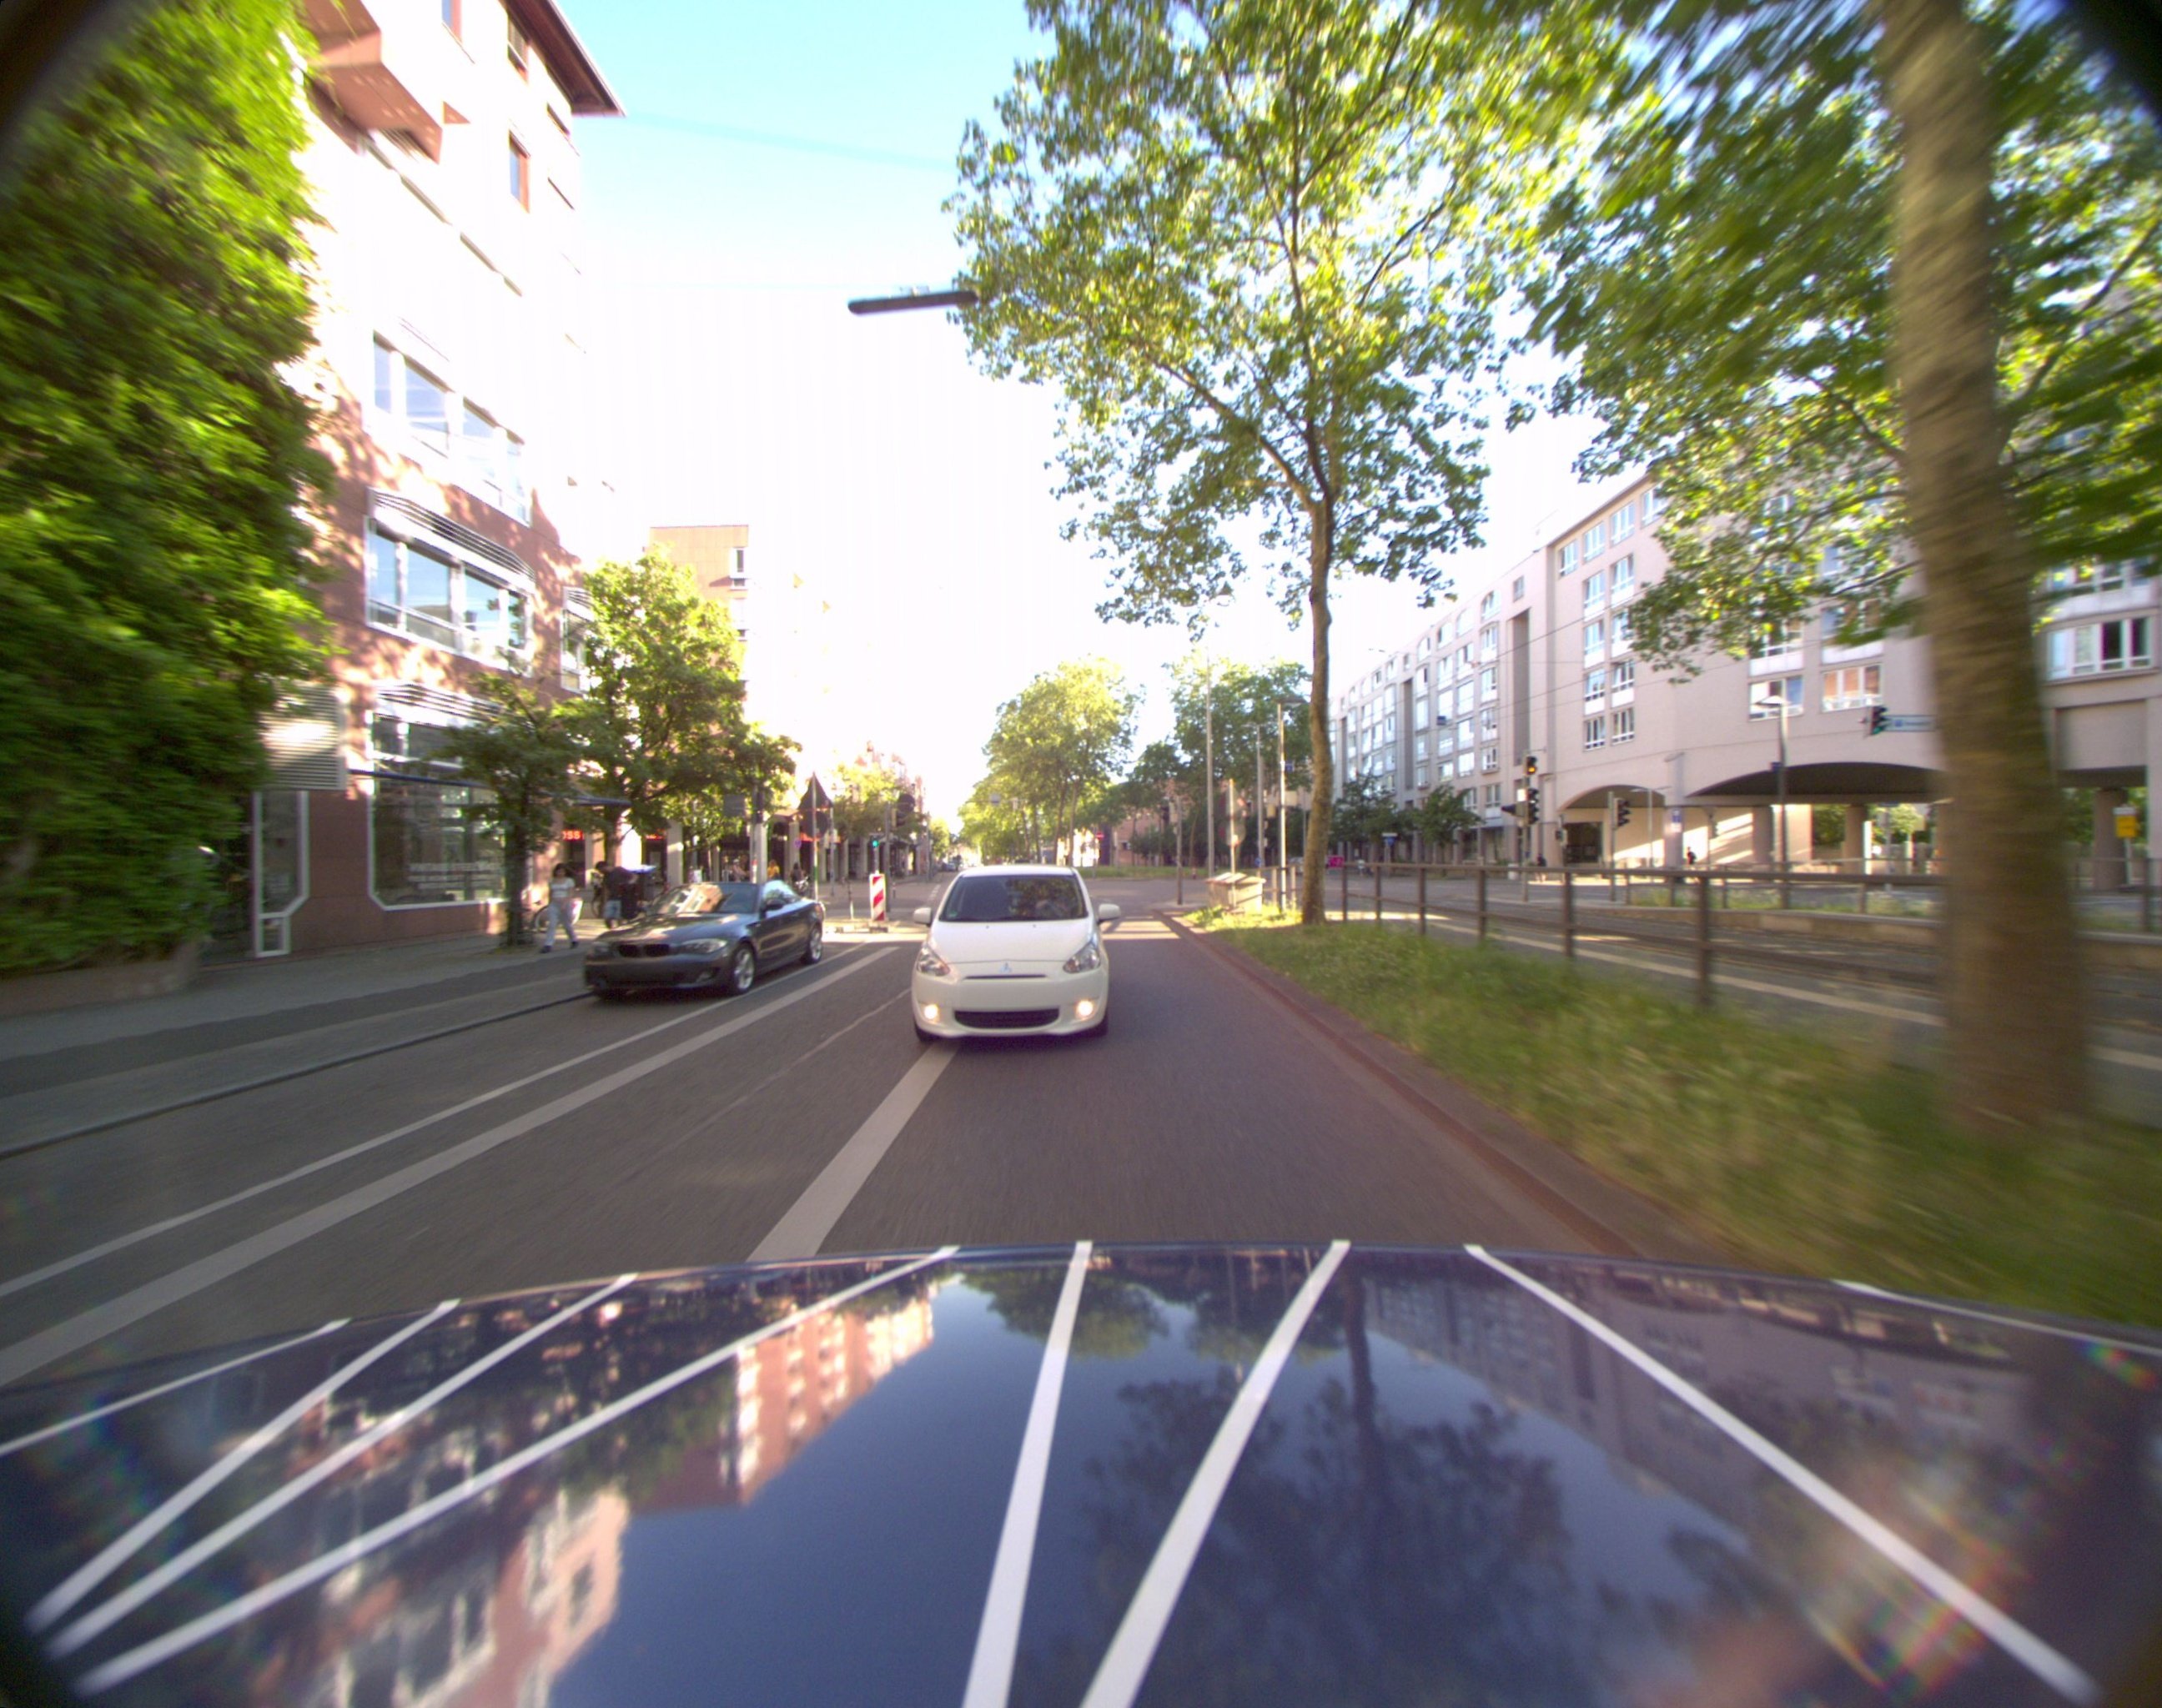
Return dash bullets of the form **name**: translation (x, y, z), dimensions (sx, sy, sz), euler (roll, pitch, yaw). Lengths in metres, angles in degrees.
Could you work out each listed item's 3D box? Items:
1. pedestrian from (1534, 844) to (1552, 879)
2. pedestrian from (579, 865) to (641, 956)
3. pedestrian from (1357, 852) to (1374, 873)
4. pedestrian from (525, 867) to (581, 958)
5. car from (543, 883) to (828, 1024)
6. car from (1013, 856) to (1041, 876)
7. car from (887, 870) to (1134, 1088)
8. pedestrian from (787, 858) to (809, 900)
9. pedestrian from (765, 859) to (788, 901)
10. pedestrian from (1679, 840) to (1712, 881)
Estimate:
- **pedestrian**: translation (27.199, 0.419, 44.712), dimensions (0.874, 2.002, 1.009), euler (-1, 1, 32)
- **pedestrian**: translation (-8.546, 1.011, 13.802), dimensions (0.641, 1.599, 0.720), euler (-1, 1, 1)
- **pedestrian**: translation (21.982, 0.668, 58.809), dimensions (1.006, 1.592, 0.876), euler (-2, 1, 7)
- **pedestrian**: translation (-9.584, 1.052, 13.818), dimensions (0.563, 1.599, 0.599), euler (-1, 1, 1)
- **car**: translation (-4.879, 1.137, 10.112), dimensions (1.809, 1.323, 3.990), euler (-1, 0, -2)
- **car**: translation (-4.579, 1.034, 65.062), dimensions (1.998, 1.524, 3.999), euler (-2, 1, 1)
- **car**: translation (-0.587, 0.969, 7.725), dimensions (1.809, 1.492, 4.199), euler (-1, 0, -2)
- **pedestrian**: translation (-11.040, 0.975, 29.701), dimensions (0.680, 1.607, 0.556), euler (-1, 1, -8)
- **pedestrian**: translation (-11.934, 1.009, 29.771), dimensions (0.680, 1.607, 0.556), euler (-1, 1, -8)
- **pedestrian**: translation (31.436, 0.321, 38.894), dimensions (0.875, 2.002, 1.007), euler (-2, 1, 8)
